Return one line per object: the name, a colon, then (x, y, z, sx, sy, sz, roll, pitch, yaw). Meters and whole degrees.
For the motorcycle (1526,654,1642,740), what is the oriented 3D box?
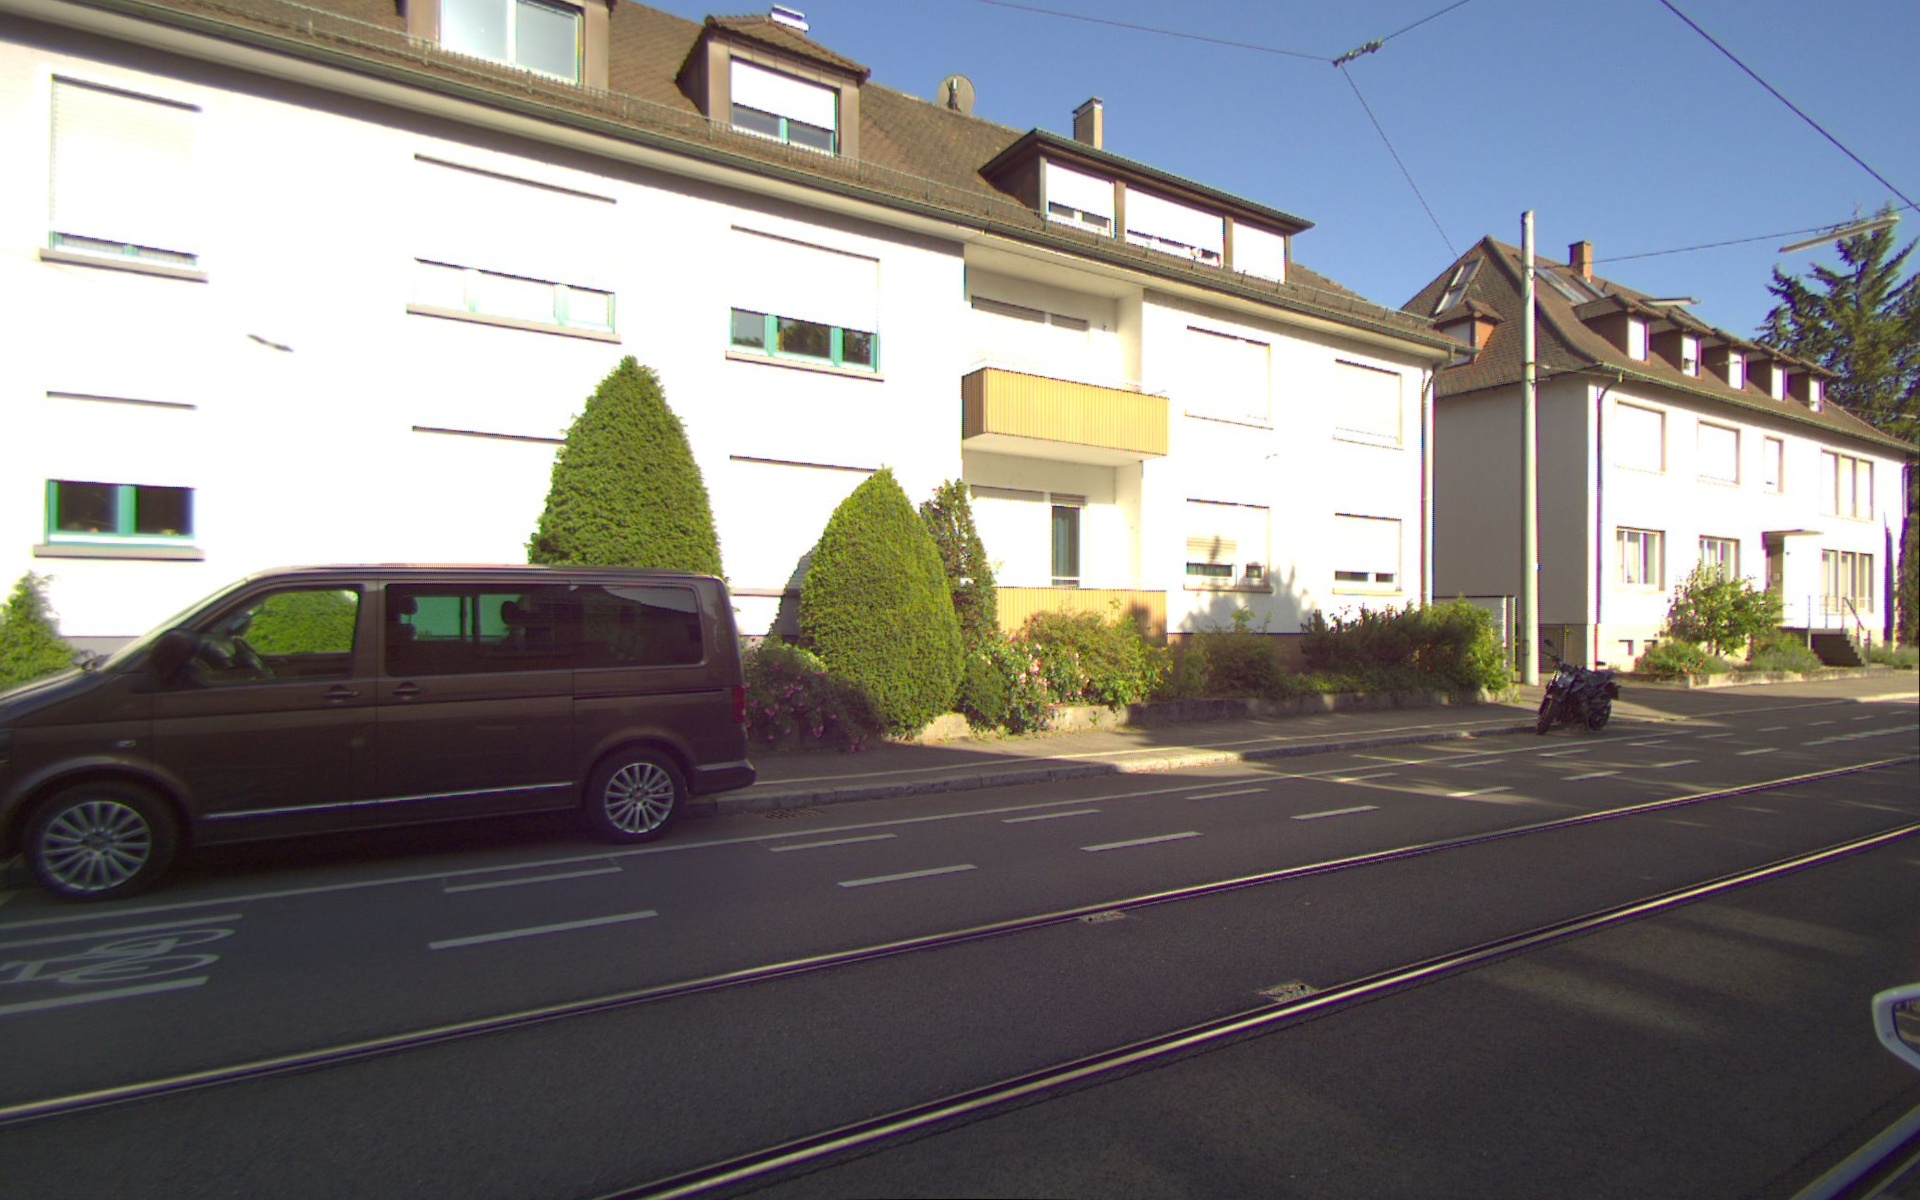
motorcycle: (9.285, 1.409, 14.921, 2.147, 1.177, 0.533, 1, -3, -31)

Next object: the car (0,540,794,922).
car: (-3.843, 0.723, 7.178, 4.889, 2.041, 1.897, 1, 0, -30)
